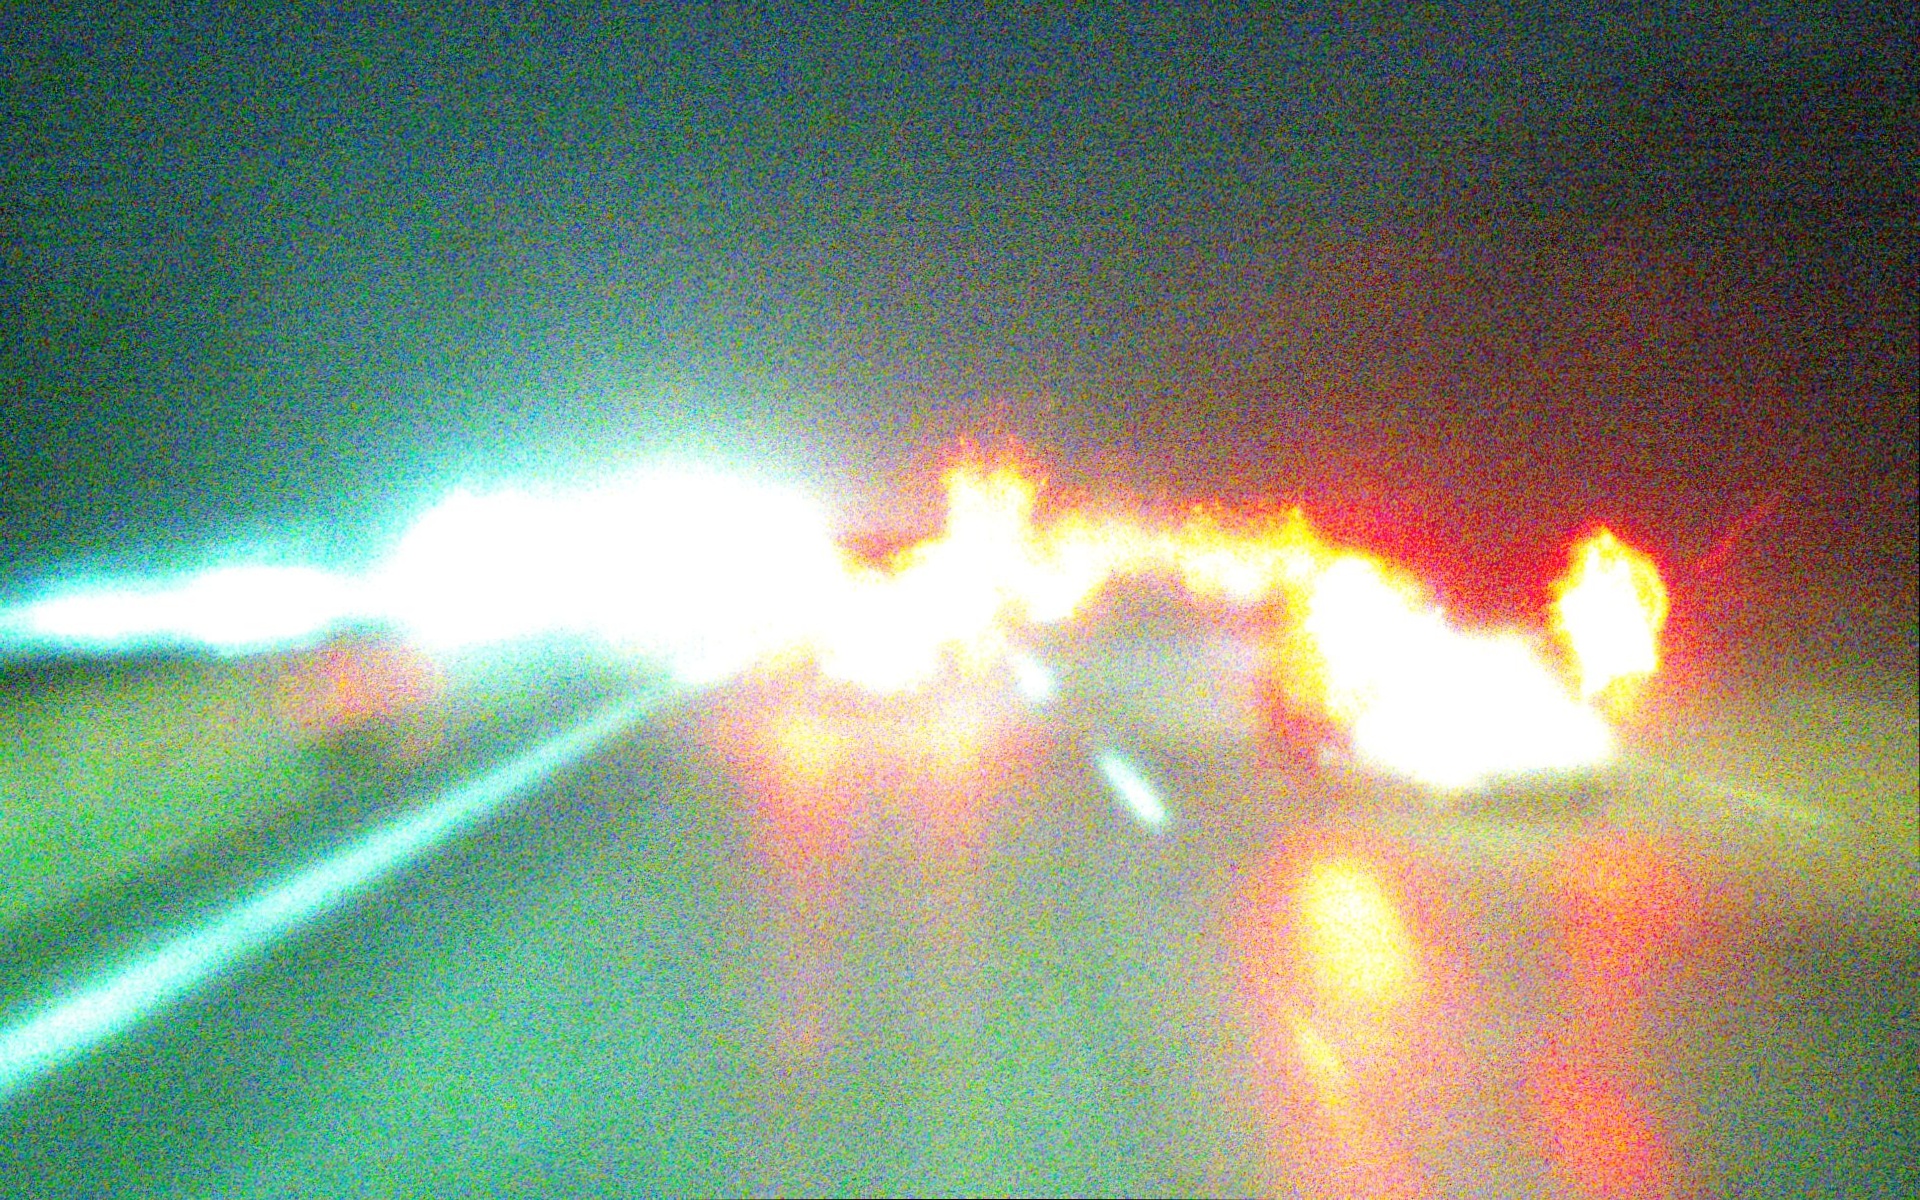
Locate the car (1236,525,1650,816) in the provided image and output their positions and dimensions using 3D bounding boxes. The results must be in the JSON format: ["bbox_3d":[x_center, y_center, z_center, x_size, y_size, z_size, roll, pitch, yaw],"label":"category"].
[{"bbox_3d":[2.816,0.350,20.918,1.884,1.583,4.000,1,1,-1],"label":"car"}]

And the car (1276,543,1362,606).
[{"bbox_3d":[9.565,-0.702,91.890,1.856,1.612,4.000,1,1,0],"label":"car"}]

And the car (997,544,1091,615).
[{"bbox_3d":[1.986,-0.501,82.177,2.137,1.612,4.000,1,1,0],"label":"car"}]

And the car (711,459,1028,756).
[{"bbox_3d":[-0.903,-0.009,33.208,2.709,2.525,5.832,-2,1,-2],"label":"car"}]

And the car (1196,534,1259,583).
[{"bbox_3d":[9.069,-1.410,116.744,1.856,1.612,4.000,1,1,1],"label":"car"}]
